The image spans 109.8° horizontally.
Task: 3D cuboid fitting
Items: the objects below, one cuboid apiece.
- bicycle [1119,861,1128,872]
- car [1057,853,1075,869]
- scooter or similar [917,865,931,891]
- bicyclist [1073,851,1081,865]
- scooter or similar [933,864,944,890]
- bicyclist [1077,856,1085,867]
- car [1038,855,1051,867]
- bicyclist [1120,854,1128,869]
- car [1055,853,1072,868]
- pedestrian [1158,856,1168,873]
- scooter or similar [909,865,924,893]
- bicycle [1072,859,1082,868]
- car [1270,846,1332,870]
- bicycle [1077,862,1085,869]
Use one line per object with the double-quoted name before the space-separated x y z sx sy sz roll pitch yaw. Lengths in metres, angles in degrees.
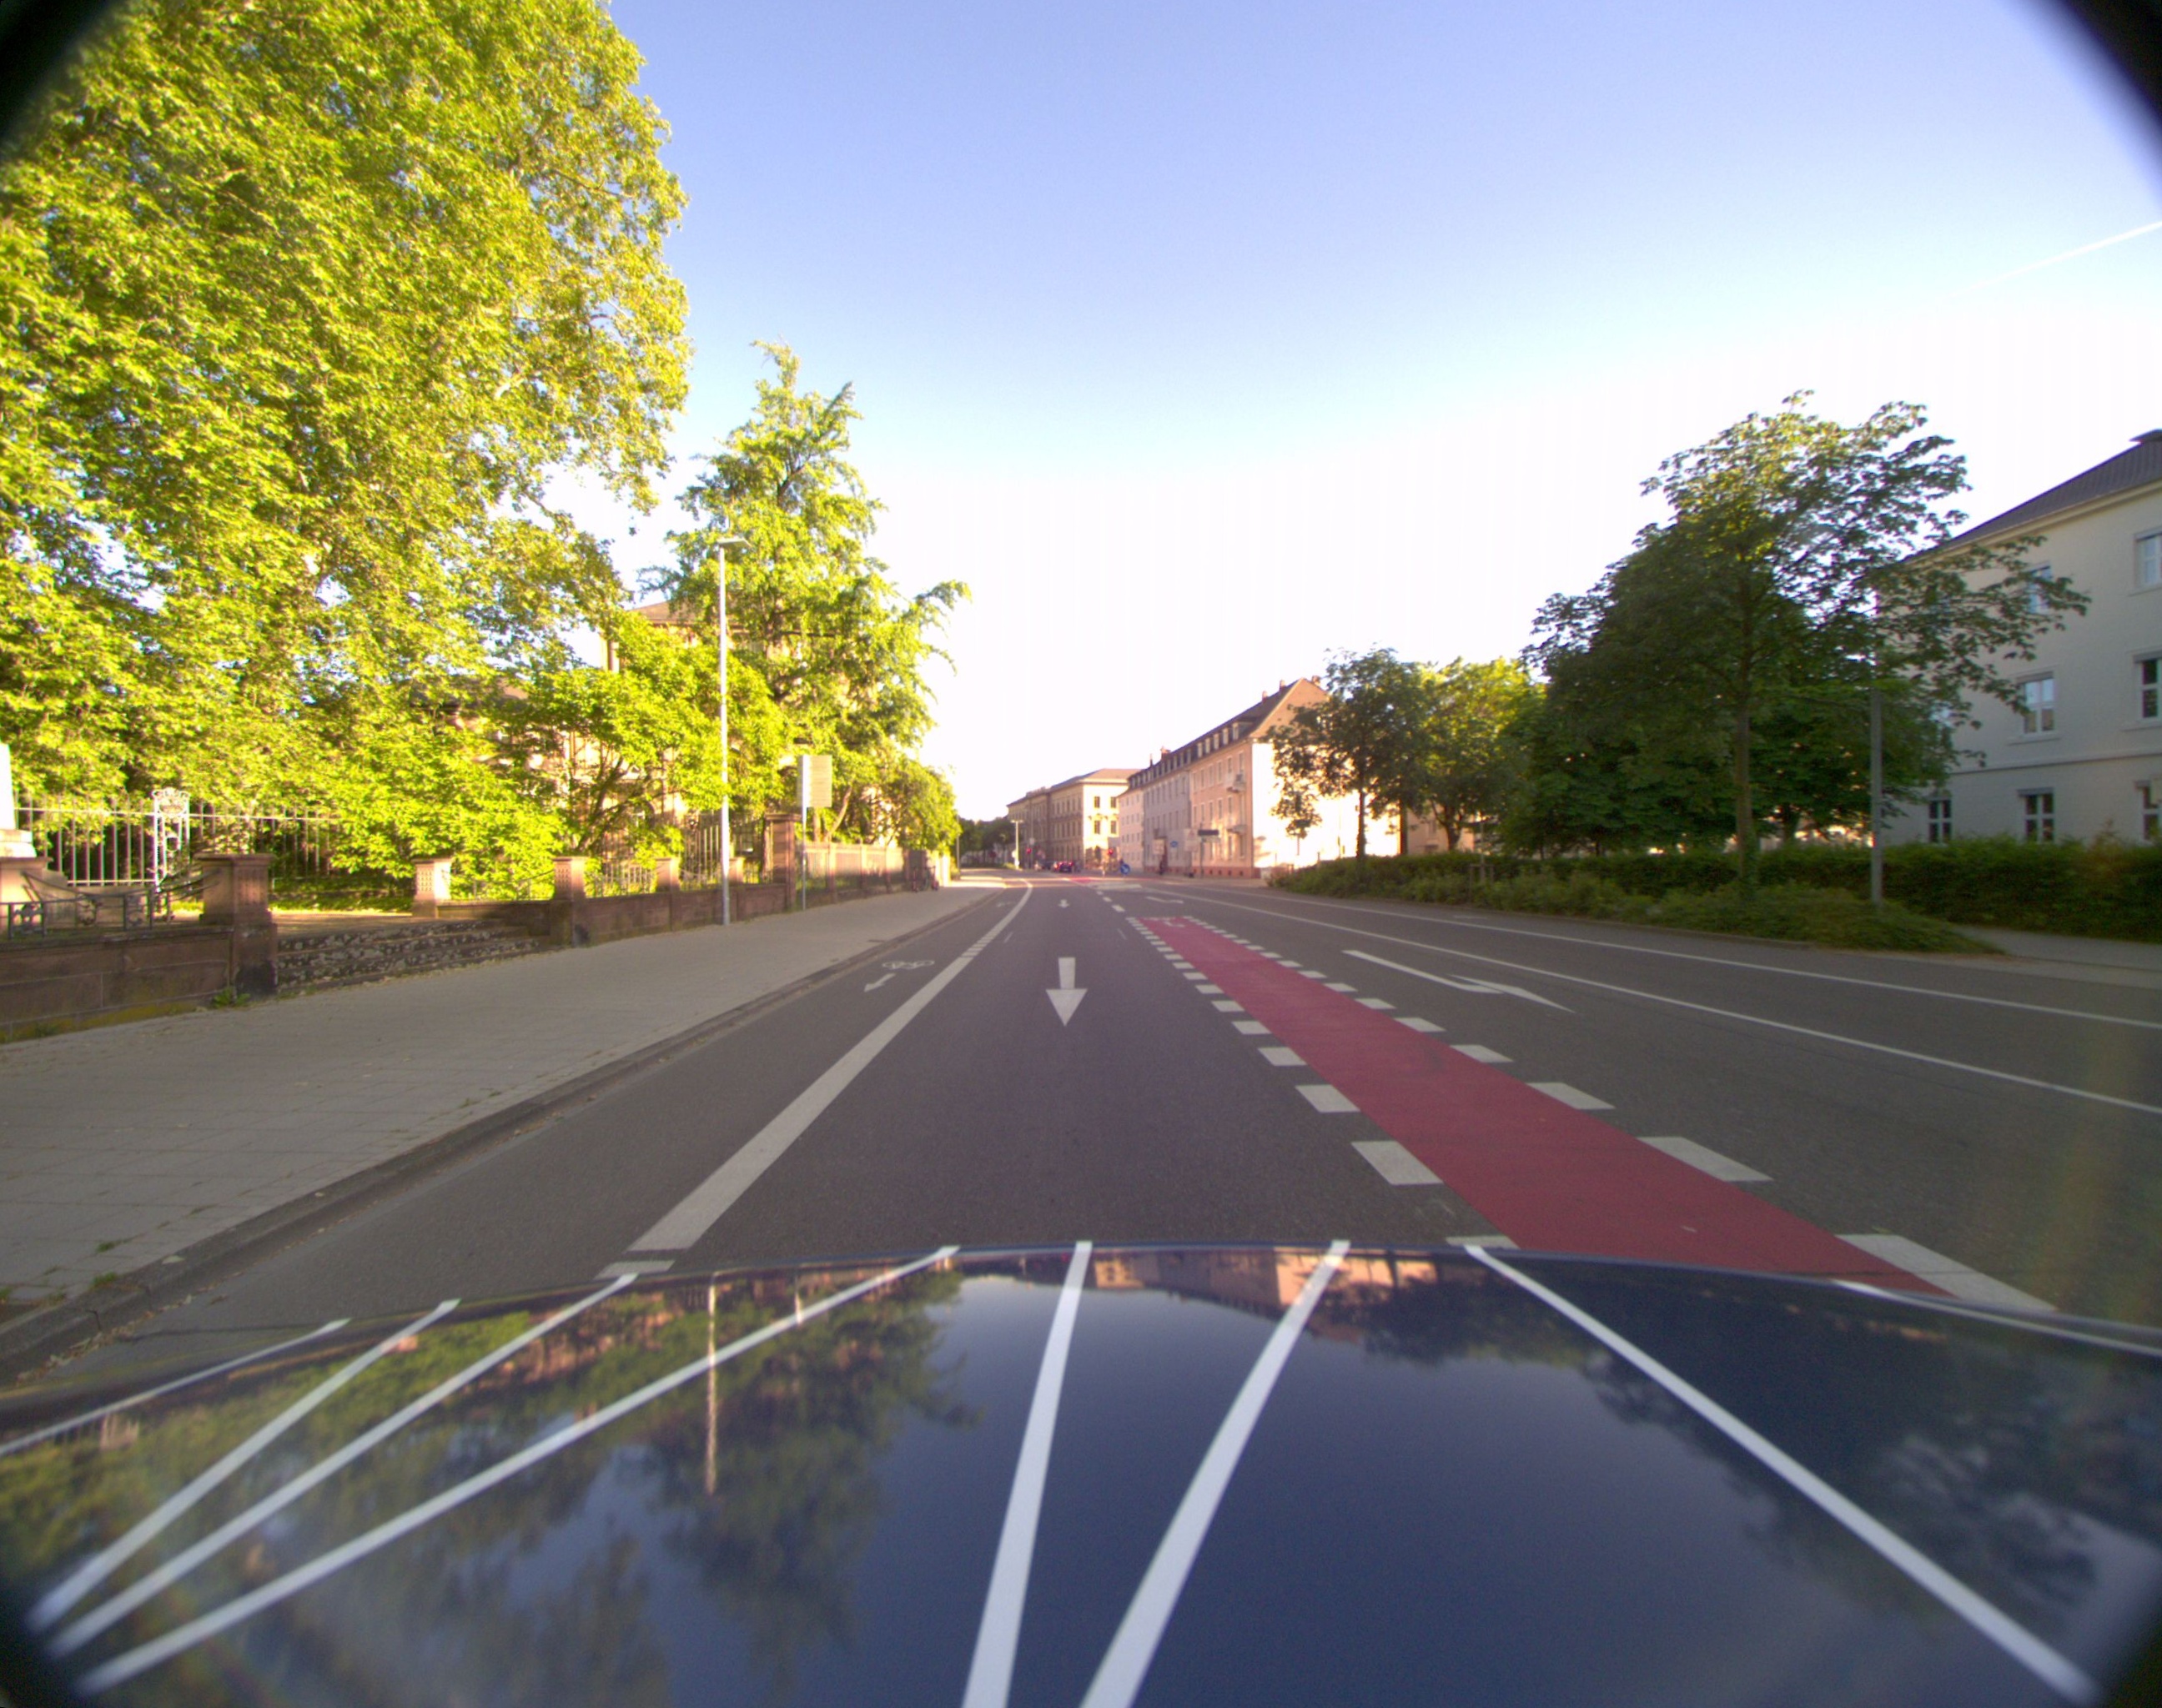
"bicycle" 4.387 1.256 78.099 0.697 1.152 2.245 1 0 -3
"car" -1.882 0.839 96.195 1.999 2.002 3.998 0 0 -5
"scooter or similar" -7.570 1.145 36.695 0.576 1.177 1.487 0 0 -7
"bicyclist" -0.558 0.632 109.076 0.956 2.002 1.307 0 0 -9
"scooter or similar" -7.097 1.135 37.777 0.517 1.233 1.521 0 0 -11
"bicyclist" -0.005 1.012 104.170 1.026 1.481 0.870 0 0 -9
"car" -6.224 1.138 130.449 1.867 1.871 4.000 -2 1 1
"bicyclist" 4.394 0.795 78.050 0.691 1.553 0.838 1 0 -3
"car" -2.378 0.879 102.019 1.999 2.002 3.998 0 0 -5
"pedestrian" 9.559 1.206 88.719 0.949 1.894 1.062 -2 1 -7
"scooter or similar" -7.557 1.130 34.842 0.577 1.246 1.486 0 0 -15
"bicycle" -0.609 1.353 109.267 0.956 1.216 2.776 0 0 -9
"car" 16.658 0.268 57.587 4.000 1.652 1.998 -2 1 -9
"bicycle" -0.045 1.531 104.356 0.663 0.907 2.861 0 0 -9
